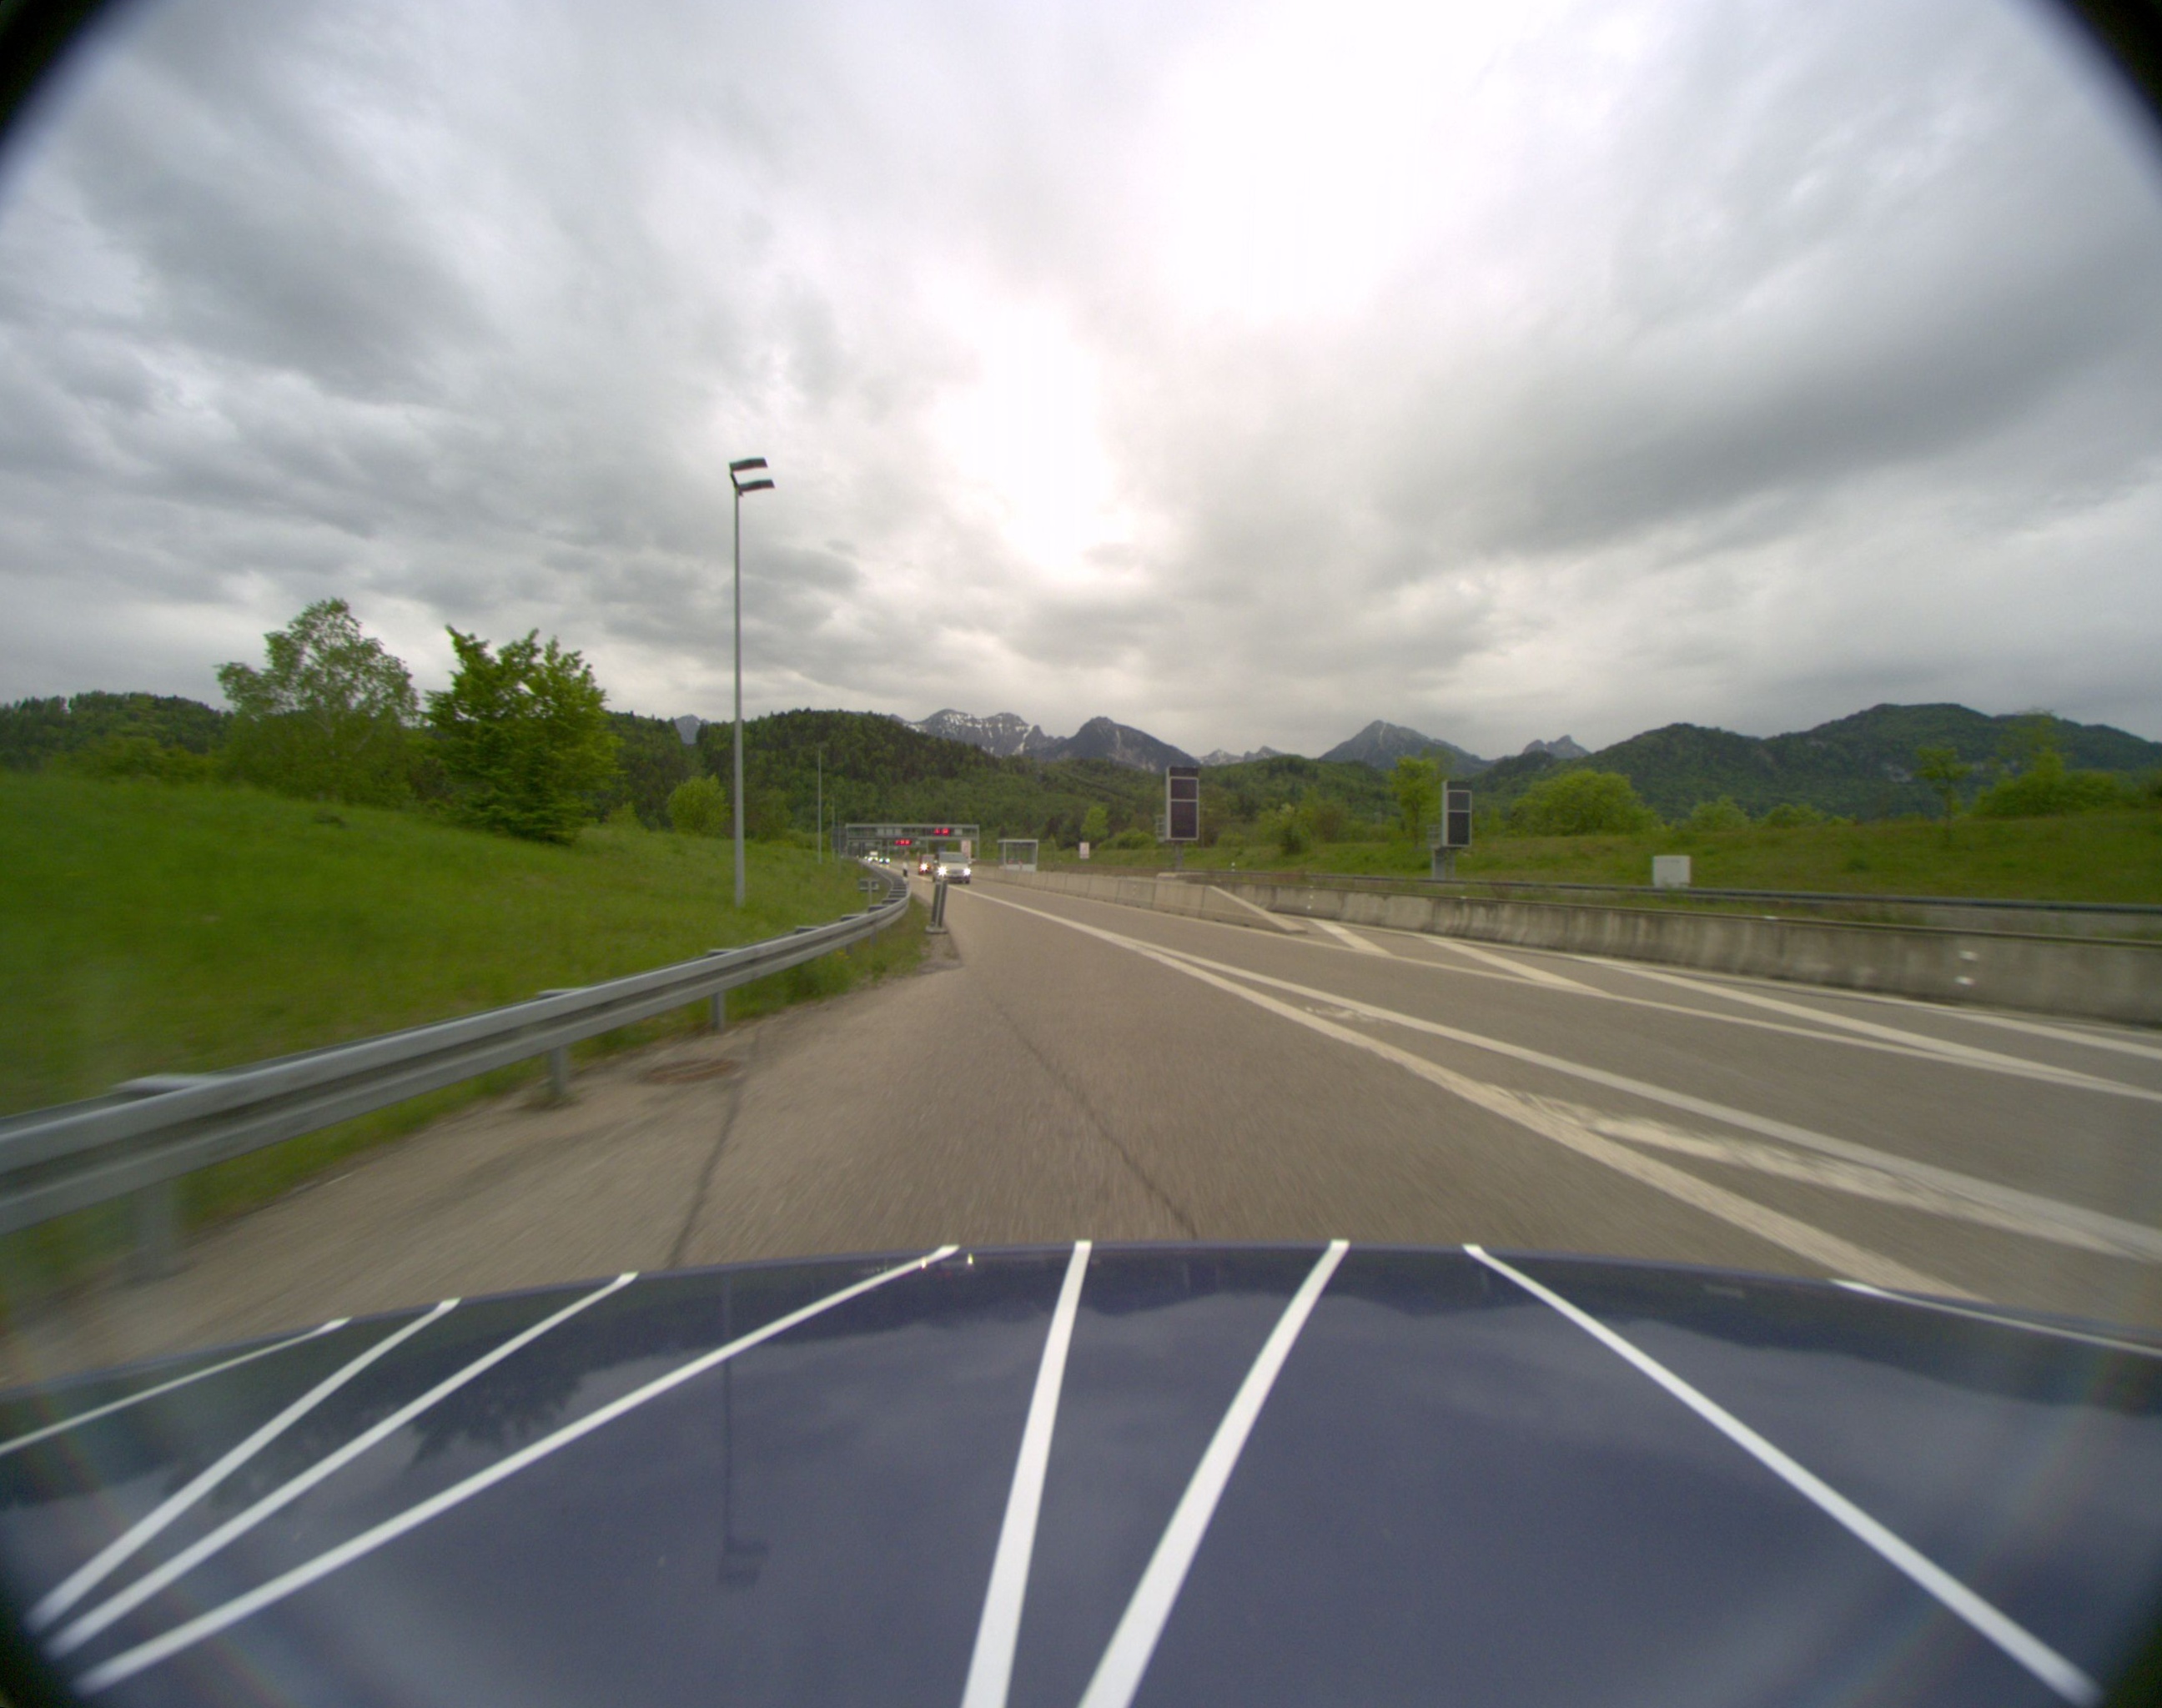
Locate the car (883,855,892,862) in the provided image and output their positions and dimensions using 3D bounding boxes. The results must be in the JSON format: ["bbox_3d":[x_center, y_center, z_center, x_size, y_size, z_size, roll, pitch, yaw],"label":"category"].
[{"bbox_3d":[-41.239,0.990,162.184,1.666,1.329,3.786,2,0,-16],"label":"car"}]

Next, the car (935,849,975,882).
[{"bbox_3d":[-7.706,0.676,46.224,1.925,1.871,5.131,1,0,-15],"label":"car"}]

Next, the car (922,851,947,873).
[{"bbox_3d":[-12.753,0.714,65.953,1.758,1.794,3.994,2,0,-16],"label":"car"}]

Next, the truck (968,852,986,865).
[{"bbox_3d":[-20.090,0.789,146.764,2.366,2.465,5.979,1,0,-17],"label":"truck"}]

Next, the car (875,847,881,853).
[{"bbox_3d":[-64.042,-1.308,239.310,1.632,1.687,3.492,2,0,-13],"label":"car"}]
